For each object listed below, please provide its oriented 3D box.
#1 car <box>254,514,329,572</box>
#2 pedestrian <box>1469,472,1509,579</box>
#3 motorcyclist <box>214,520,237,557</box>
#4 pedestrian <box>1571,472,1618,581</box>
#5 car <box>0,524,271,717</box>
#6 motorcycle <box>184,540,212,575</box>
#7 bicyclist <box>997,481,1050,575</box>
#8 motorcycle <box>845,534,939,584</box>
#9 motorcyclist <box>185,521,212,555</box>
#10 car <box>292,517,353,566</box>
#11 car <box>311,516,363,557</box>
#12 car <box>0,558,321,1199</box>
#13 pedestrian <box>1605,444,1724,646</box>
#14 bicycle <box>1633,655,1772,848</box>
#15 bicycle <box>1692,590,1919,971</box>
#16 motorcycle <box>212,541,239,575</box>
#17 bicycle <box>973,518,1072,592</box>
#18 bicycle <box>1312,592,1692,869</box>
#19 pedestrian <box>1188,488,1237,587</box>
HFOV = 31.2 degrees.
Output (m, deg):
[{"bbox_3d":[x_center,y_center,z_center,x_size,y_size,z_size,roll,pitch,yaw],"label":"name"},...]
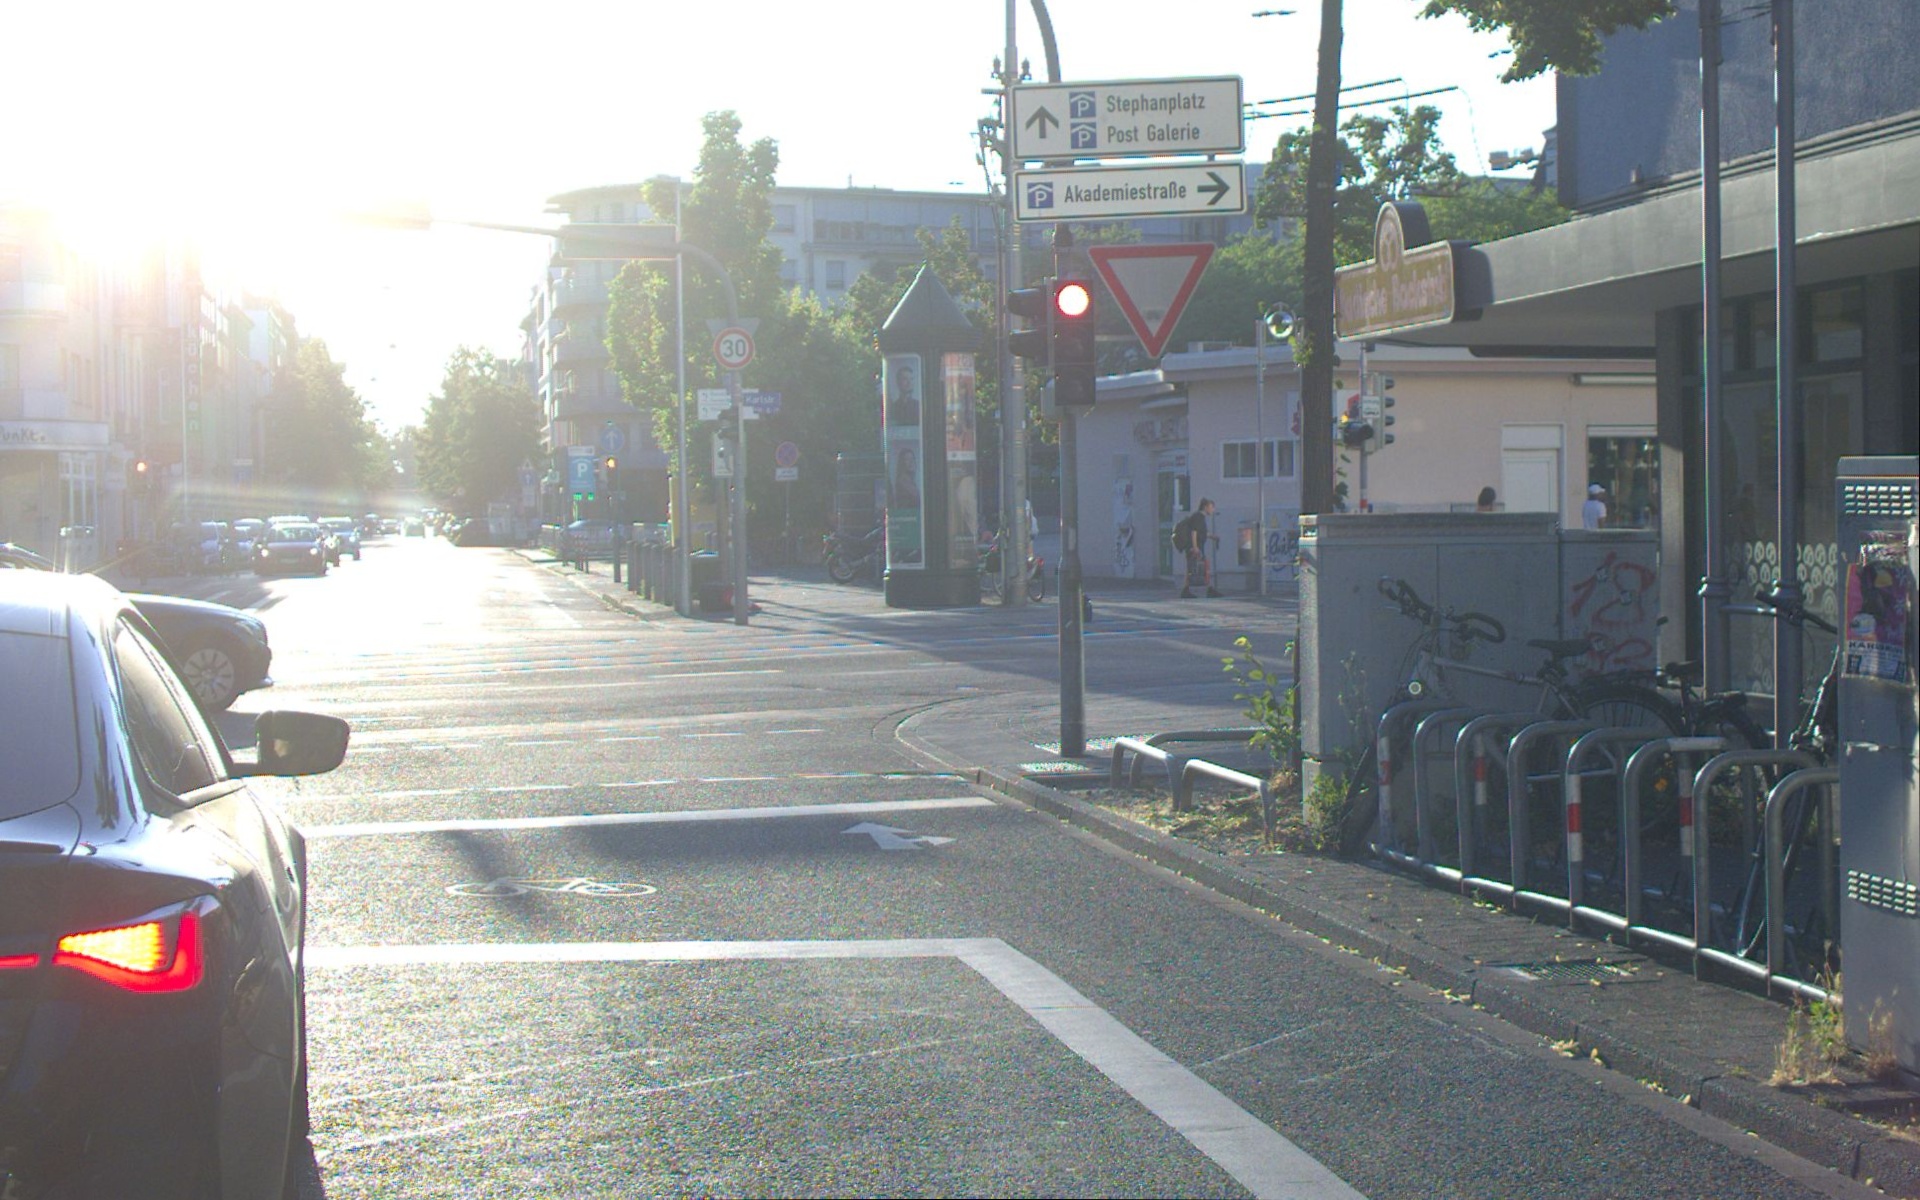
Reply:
[{"bbox_3d":[-18.354,-1.574,94.516,1.817,1.514,4.001,-1,2,-8],"label":"car"},{"bbox_3d":[8.603,-1.218,55.936,0.442,1.729,0.434,0,1,-33],"label":"pedestrian"},{"bbox_3d":[-20.009,-1.672,93.644,0.575,0.992,0.703,1,1,-8],"label":"motorcyclist"},{"bbox_3d":[10.206,-1.182,55.280,0.478,1.729,0.531,0,1,-33],"label":"pedestrian"},{"bbox_3d":[-7.973,0.160,27.623,4.406,1.468,1.818,-2,2,-33],"label":"car"},{"bbox_3d":[-20.866,-1.165,94.144,0.575,0.912,2.201,1,1,-8],"label":"motorcycle"},{"bbox_3d":[1.007,-1.148,54.914,0.550,1.476,0.723,0,1,-30],"label":"bicyclist"},{"bbox_3d":[-1.339,-0.818,67.876,1.668,0.935,0.856,-1,2,-19],"label":"motorcycle"},{"bbox_3d":[-20.853,-1.694,94.156,0.575,0.912,2.201,1,1,-8],"label":"motorcyclist"},{"bbox_3d":[-20.939,-1.934,113.019,1.817,1.514,4.001,-1,2,-8],"label":"car"},{"bbox_3d":[-24.068,-2.471,132.833,1.817,1.514,4.001,-1,2,-8],"label":"car"},{"bbox_3d":[-2.123,0.659,6.486,1.736,1.424,4.225,0,1,-10],"label":"car"},{"bbox_3d":[6.534,-0.519,31.901,0.676,1.835,0.838,-2,2,-30],"label":"pedestrian"},{"bbox_3d":[3.319,0.664,15.413,0.249,0.793,1.116,1,1,-7],"label":"bicycle"},{"bbox_3d":[3.176,0.588,11.297,1.440,1.216,0.383,1,1,-7],"label":"bicycle"},{"bbox_3d":[-20.035,-1.145,93.753,0.575,0.912,2.201,1,1,-8],"label":"motorcycle"},{"bbox_3d":[0.990,-0.720,54.949,0.550,1.155,2.144,0,1,-30],"label":"bicycle"},{"bbox_3d":[2.386,0.567,15.155,1.612,1.167,0.318,-1,2,-6],"label":"bicycle"},{"bbox_3d":[3.963,-0.980,53.932,0.733,1.523,0.472,1,1,4],"label":"pedestrian"}]
